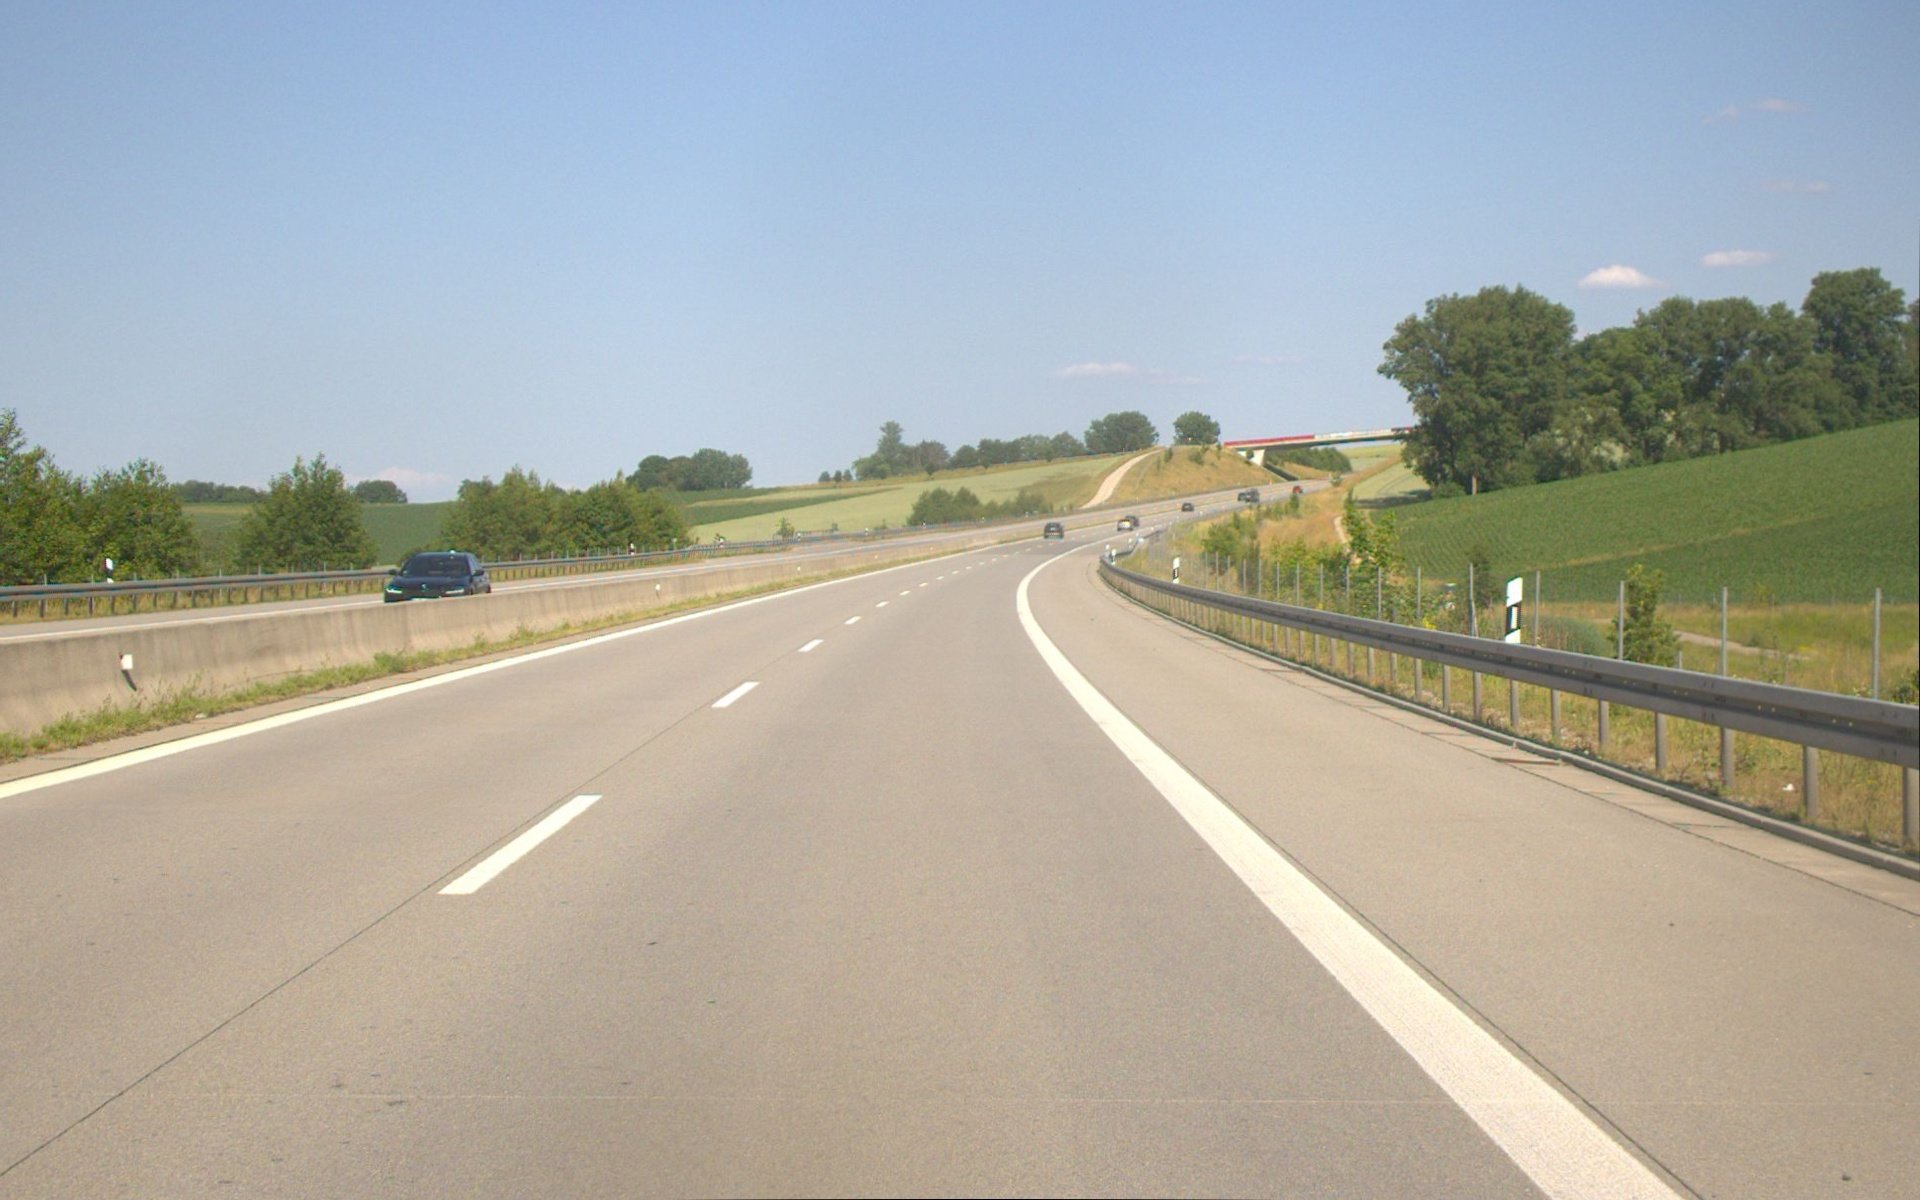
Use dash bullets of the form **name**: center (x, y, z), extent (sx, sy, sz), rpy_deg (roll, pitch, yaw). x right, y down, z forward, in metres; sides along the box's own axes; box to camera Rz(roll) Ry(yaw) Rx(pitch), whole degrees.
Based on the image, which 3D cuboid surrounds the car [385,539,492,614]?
- **car**: center (-11.514, -0.524, 76.158), extent (1.710, 1.584, 4.627), rpy_deg (1, 0, -1)
